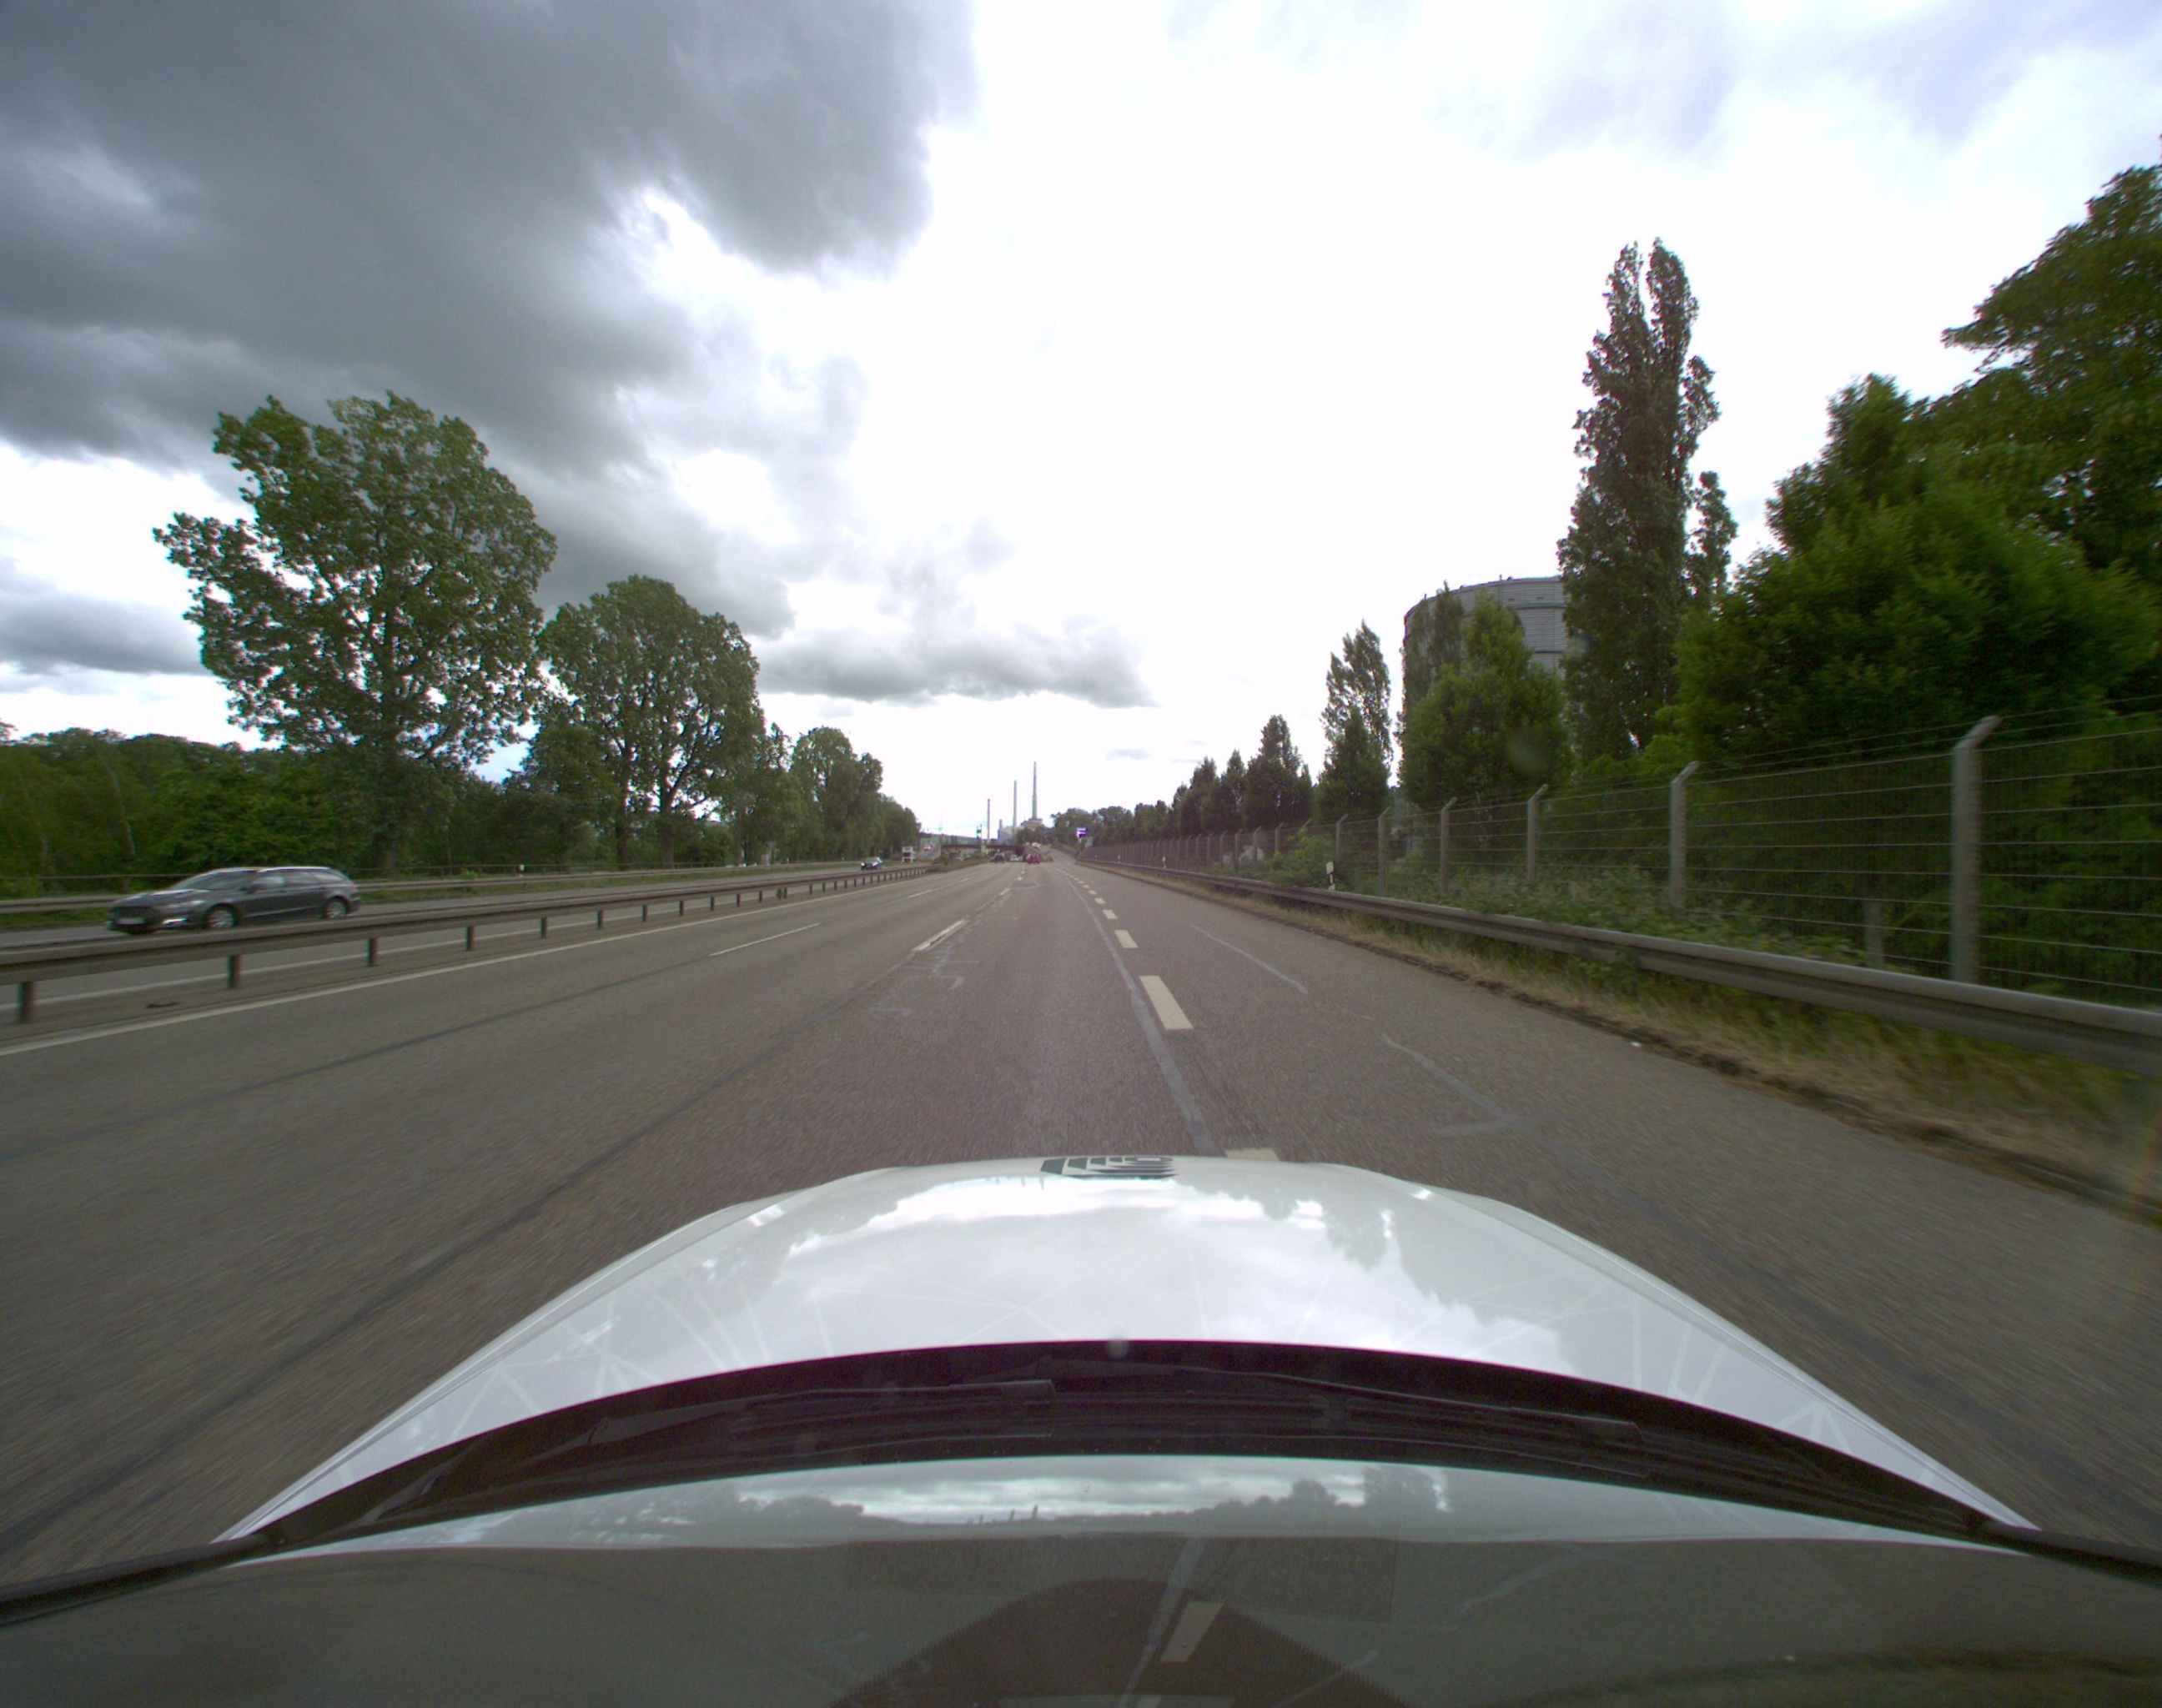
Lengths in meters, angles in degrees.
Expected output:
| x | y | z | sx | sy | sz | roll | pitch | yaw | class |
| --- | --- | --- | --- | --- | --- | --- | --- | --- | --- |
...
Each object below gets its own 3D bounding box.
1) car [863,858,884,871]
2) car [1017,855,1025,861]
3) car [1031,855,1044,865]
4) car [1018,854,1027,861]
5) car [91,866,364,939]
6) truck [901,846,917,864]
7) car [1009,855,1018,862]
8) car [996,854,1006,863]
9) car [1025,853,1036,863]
| x | y | z | sx | sy | sz | roll | pitch | yaw | class |
| --- | --- | --- | --- | --- | --- | --- | --- | --- | --- |
| -23.683 | 1.222 | 93.018 | 1.696 | 1.413 | 4.628 | -1 | 0 | -6 | car |
| -15.685 | 0.971 | 212.321 | 1.697 | 1.555 | 4.385 | -1 | 0 | -8 | car |
| -6.578 | 0.871 | 123.227 | 1.970 | 1.423 | 4.894 | -1 | 0 | -3 | car |
| -13.429 | 0.898 | 187.226 | 1.696 | 1.555 | 4.387 | -1 | 0 | -7 | car |
| -20.065 | 1.061 | 19.520 | 1.693 | 1.413 | 4.635 | -1 | 0 | -1 | car |
| -40.876 | 0.159 | 193.824 | 2.888 | 4.165 | 14.611 | 1 | 0 | -9 | truck |
| -14.379 | 1.026 | 173.727 | 1.695 | 1.389 | 4.388 | -1 | 0 | -6 | car |
| -14.901 | 0.855 | 151.099 | 1.696 | 1.742 | 3.990 | -1 | 0 | -7 | car |
| -9.213 | 0.768 | 148.817 | 1.696 | 1.742 | 4.383 | -1 | 0 | -6 | car |
